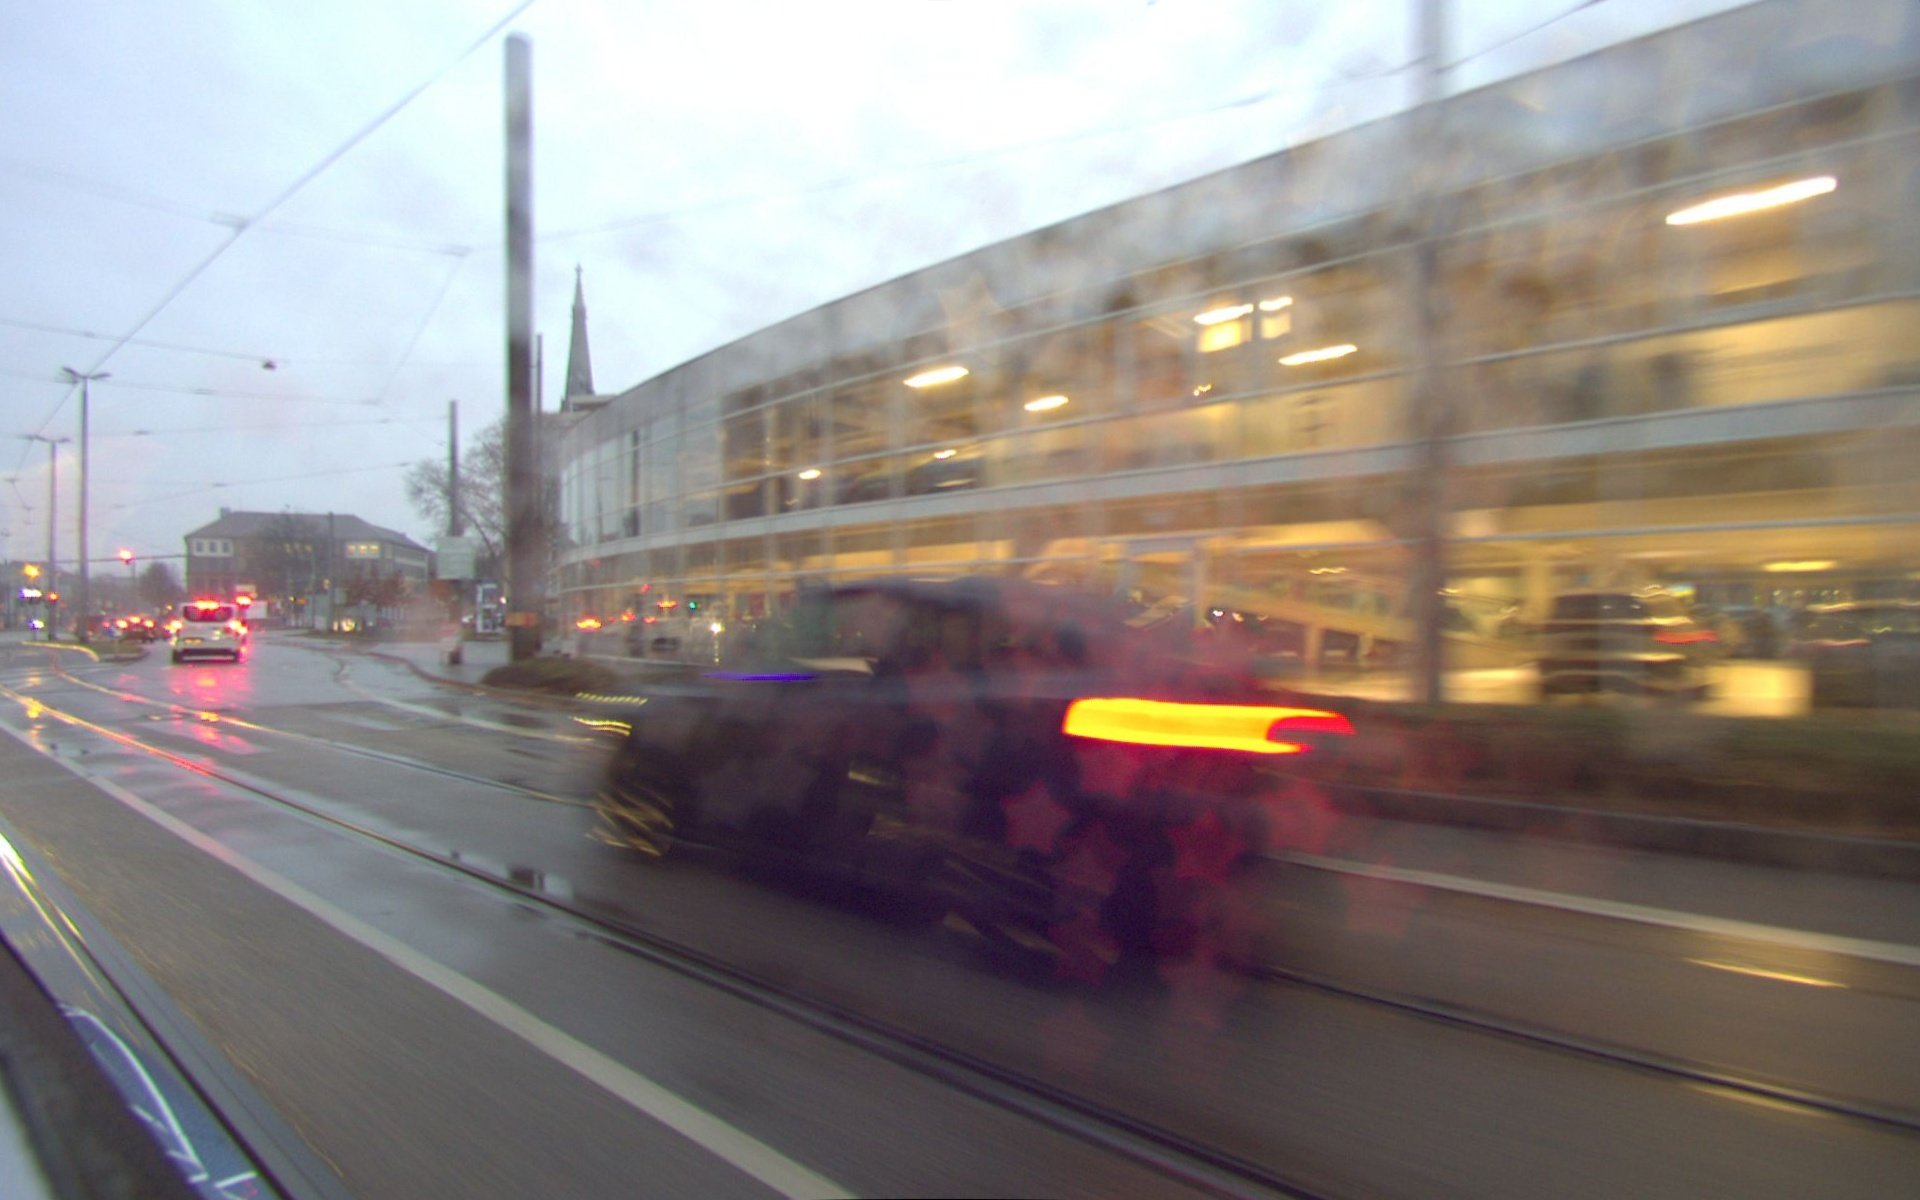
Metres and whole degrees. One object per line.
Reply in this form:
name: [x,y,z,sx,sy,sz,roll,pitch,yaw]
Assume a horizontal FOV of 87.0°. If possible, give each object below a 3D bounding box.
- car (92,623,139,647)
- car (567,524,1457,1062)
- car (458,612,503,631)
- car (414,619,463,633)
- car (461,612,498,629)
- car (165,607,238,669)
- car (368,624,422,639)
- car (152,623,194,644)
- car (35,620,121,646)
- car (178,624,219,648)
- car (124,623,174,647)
car: [-54.584,2.249,65.371,4.000,1.497,1.879,-1,-1,43]
car: [-0.111,0.613,5.195,4.442,1.590,1.821,-1,-1,43]
car: [-52.047,2.317,109.929,3.949,2.029,1.997,-1,0,5]
car: [-52.634,2.617,102.093,3.949,1.320,1.997,-1,0,5]
car: [-58.368,2.489,122.946,3.930,2.029,2.007,-1,0,-23]
car: [-27.058,1.284,36.166,1.967,2.029,4.695,-1,0,-36]
car: [-52.718,2.908,94.473,3.949,1.320,1.997,-1,0,5]
car: [-53.832,2.266,69.191,4.000,1.368,1.705,-1,-1,43]
car: [-75.066,2.806,86.232,5.466,2.029,2.003,-1,0,-41]
car: [-48.147,2.269,63.975,3.472,1.429,1.582,-1,-1,44]
car: [-48.915,2.110,61.009,4.001,1.401,1.850,-1,-3,44]
